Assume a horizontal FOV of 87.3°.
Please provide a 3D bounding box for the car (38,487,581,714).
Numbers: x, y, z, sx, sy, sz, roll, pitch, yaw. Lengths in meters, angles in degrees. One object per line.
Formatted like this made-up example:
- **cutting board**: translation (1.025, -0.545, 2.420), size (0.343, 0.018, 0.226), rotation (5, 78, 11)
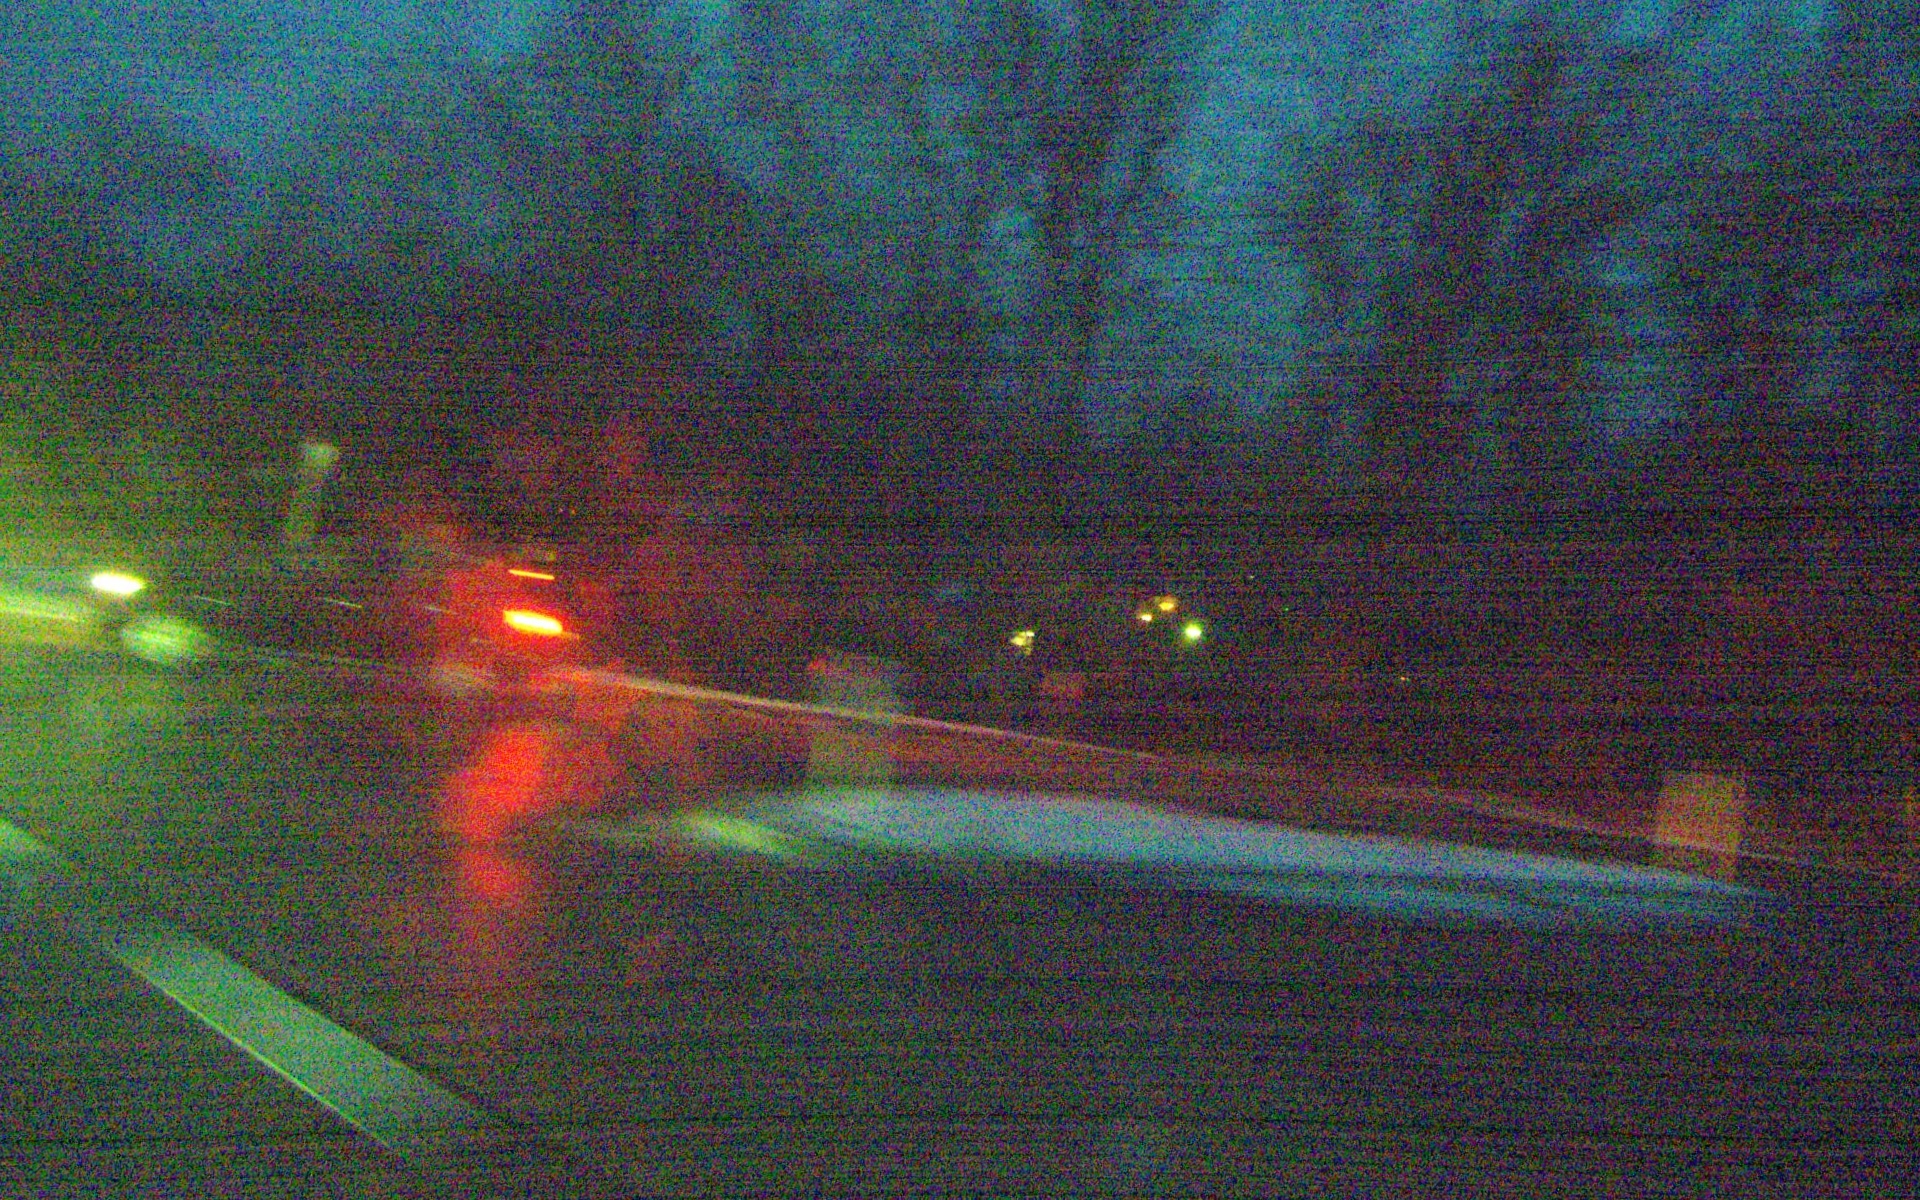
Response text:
- **car**: translation (-7.059, 0.102, 11.599), size (4.705, 1.709, 1.956), rotation (9, -3, -17)
